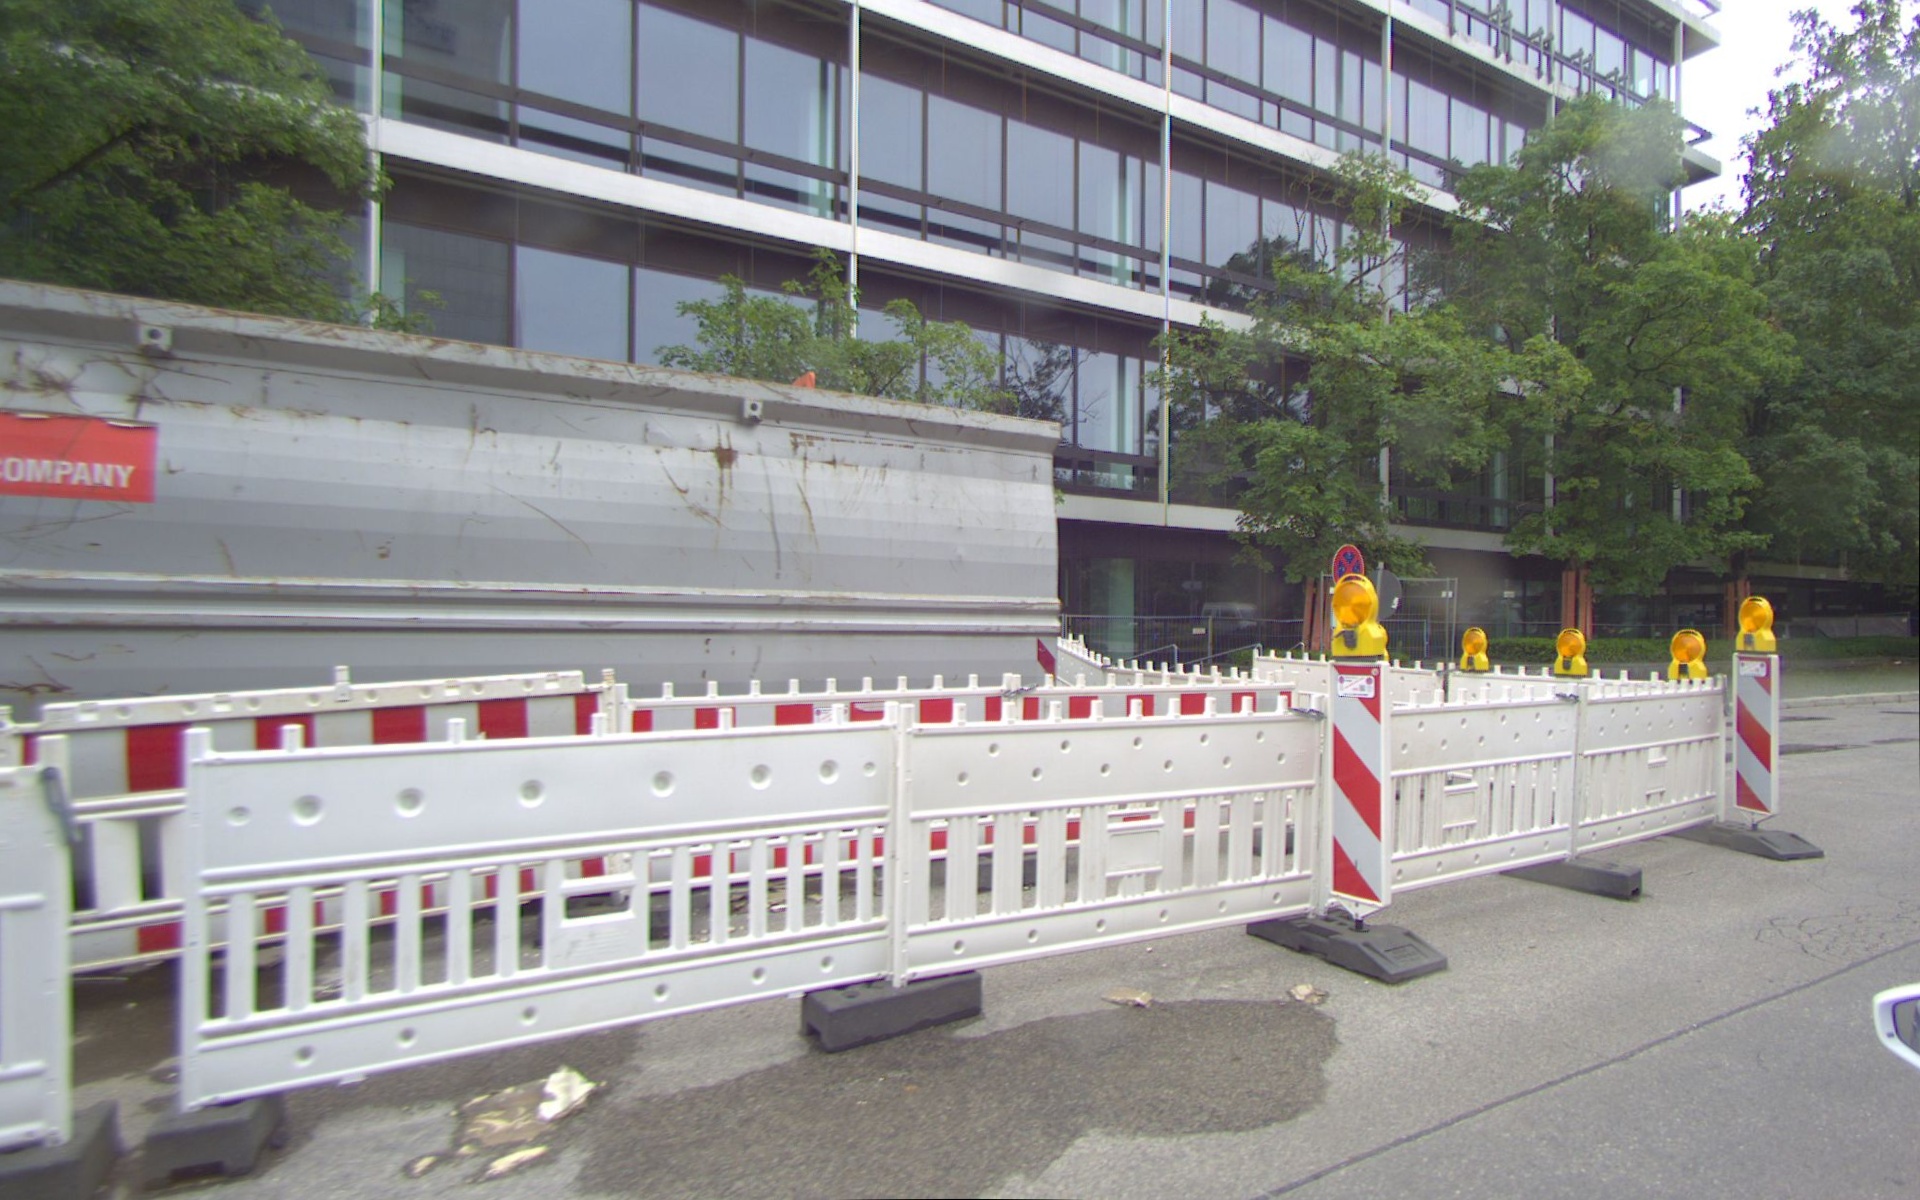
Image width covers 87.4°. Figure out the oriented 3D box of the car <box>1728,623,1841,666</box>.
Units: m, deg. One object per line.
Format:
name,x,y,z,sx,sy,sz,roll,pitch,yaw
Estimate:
car,29.971,1.574,36.521,3.812,1.493,1.899,1,-1,-28
